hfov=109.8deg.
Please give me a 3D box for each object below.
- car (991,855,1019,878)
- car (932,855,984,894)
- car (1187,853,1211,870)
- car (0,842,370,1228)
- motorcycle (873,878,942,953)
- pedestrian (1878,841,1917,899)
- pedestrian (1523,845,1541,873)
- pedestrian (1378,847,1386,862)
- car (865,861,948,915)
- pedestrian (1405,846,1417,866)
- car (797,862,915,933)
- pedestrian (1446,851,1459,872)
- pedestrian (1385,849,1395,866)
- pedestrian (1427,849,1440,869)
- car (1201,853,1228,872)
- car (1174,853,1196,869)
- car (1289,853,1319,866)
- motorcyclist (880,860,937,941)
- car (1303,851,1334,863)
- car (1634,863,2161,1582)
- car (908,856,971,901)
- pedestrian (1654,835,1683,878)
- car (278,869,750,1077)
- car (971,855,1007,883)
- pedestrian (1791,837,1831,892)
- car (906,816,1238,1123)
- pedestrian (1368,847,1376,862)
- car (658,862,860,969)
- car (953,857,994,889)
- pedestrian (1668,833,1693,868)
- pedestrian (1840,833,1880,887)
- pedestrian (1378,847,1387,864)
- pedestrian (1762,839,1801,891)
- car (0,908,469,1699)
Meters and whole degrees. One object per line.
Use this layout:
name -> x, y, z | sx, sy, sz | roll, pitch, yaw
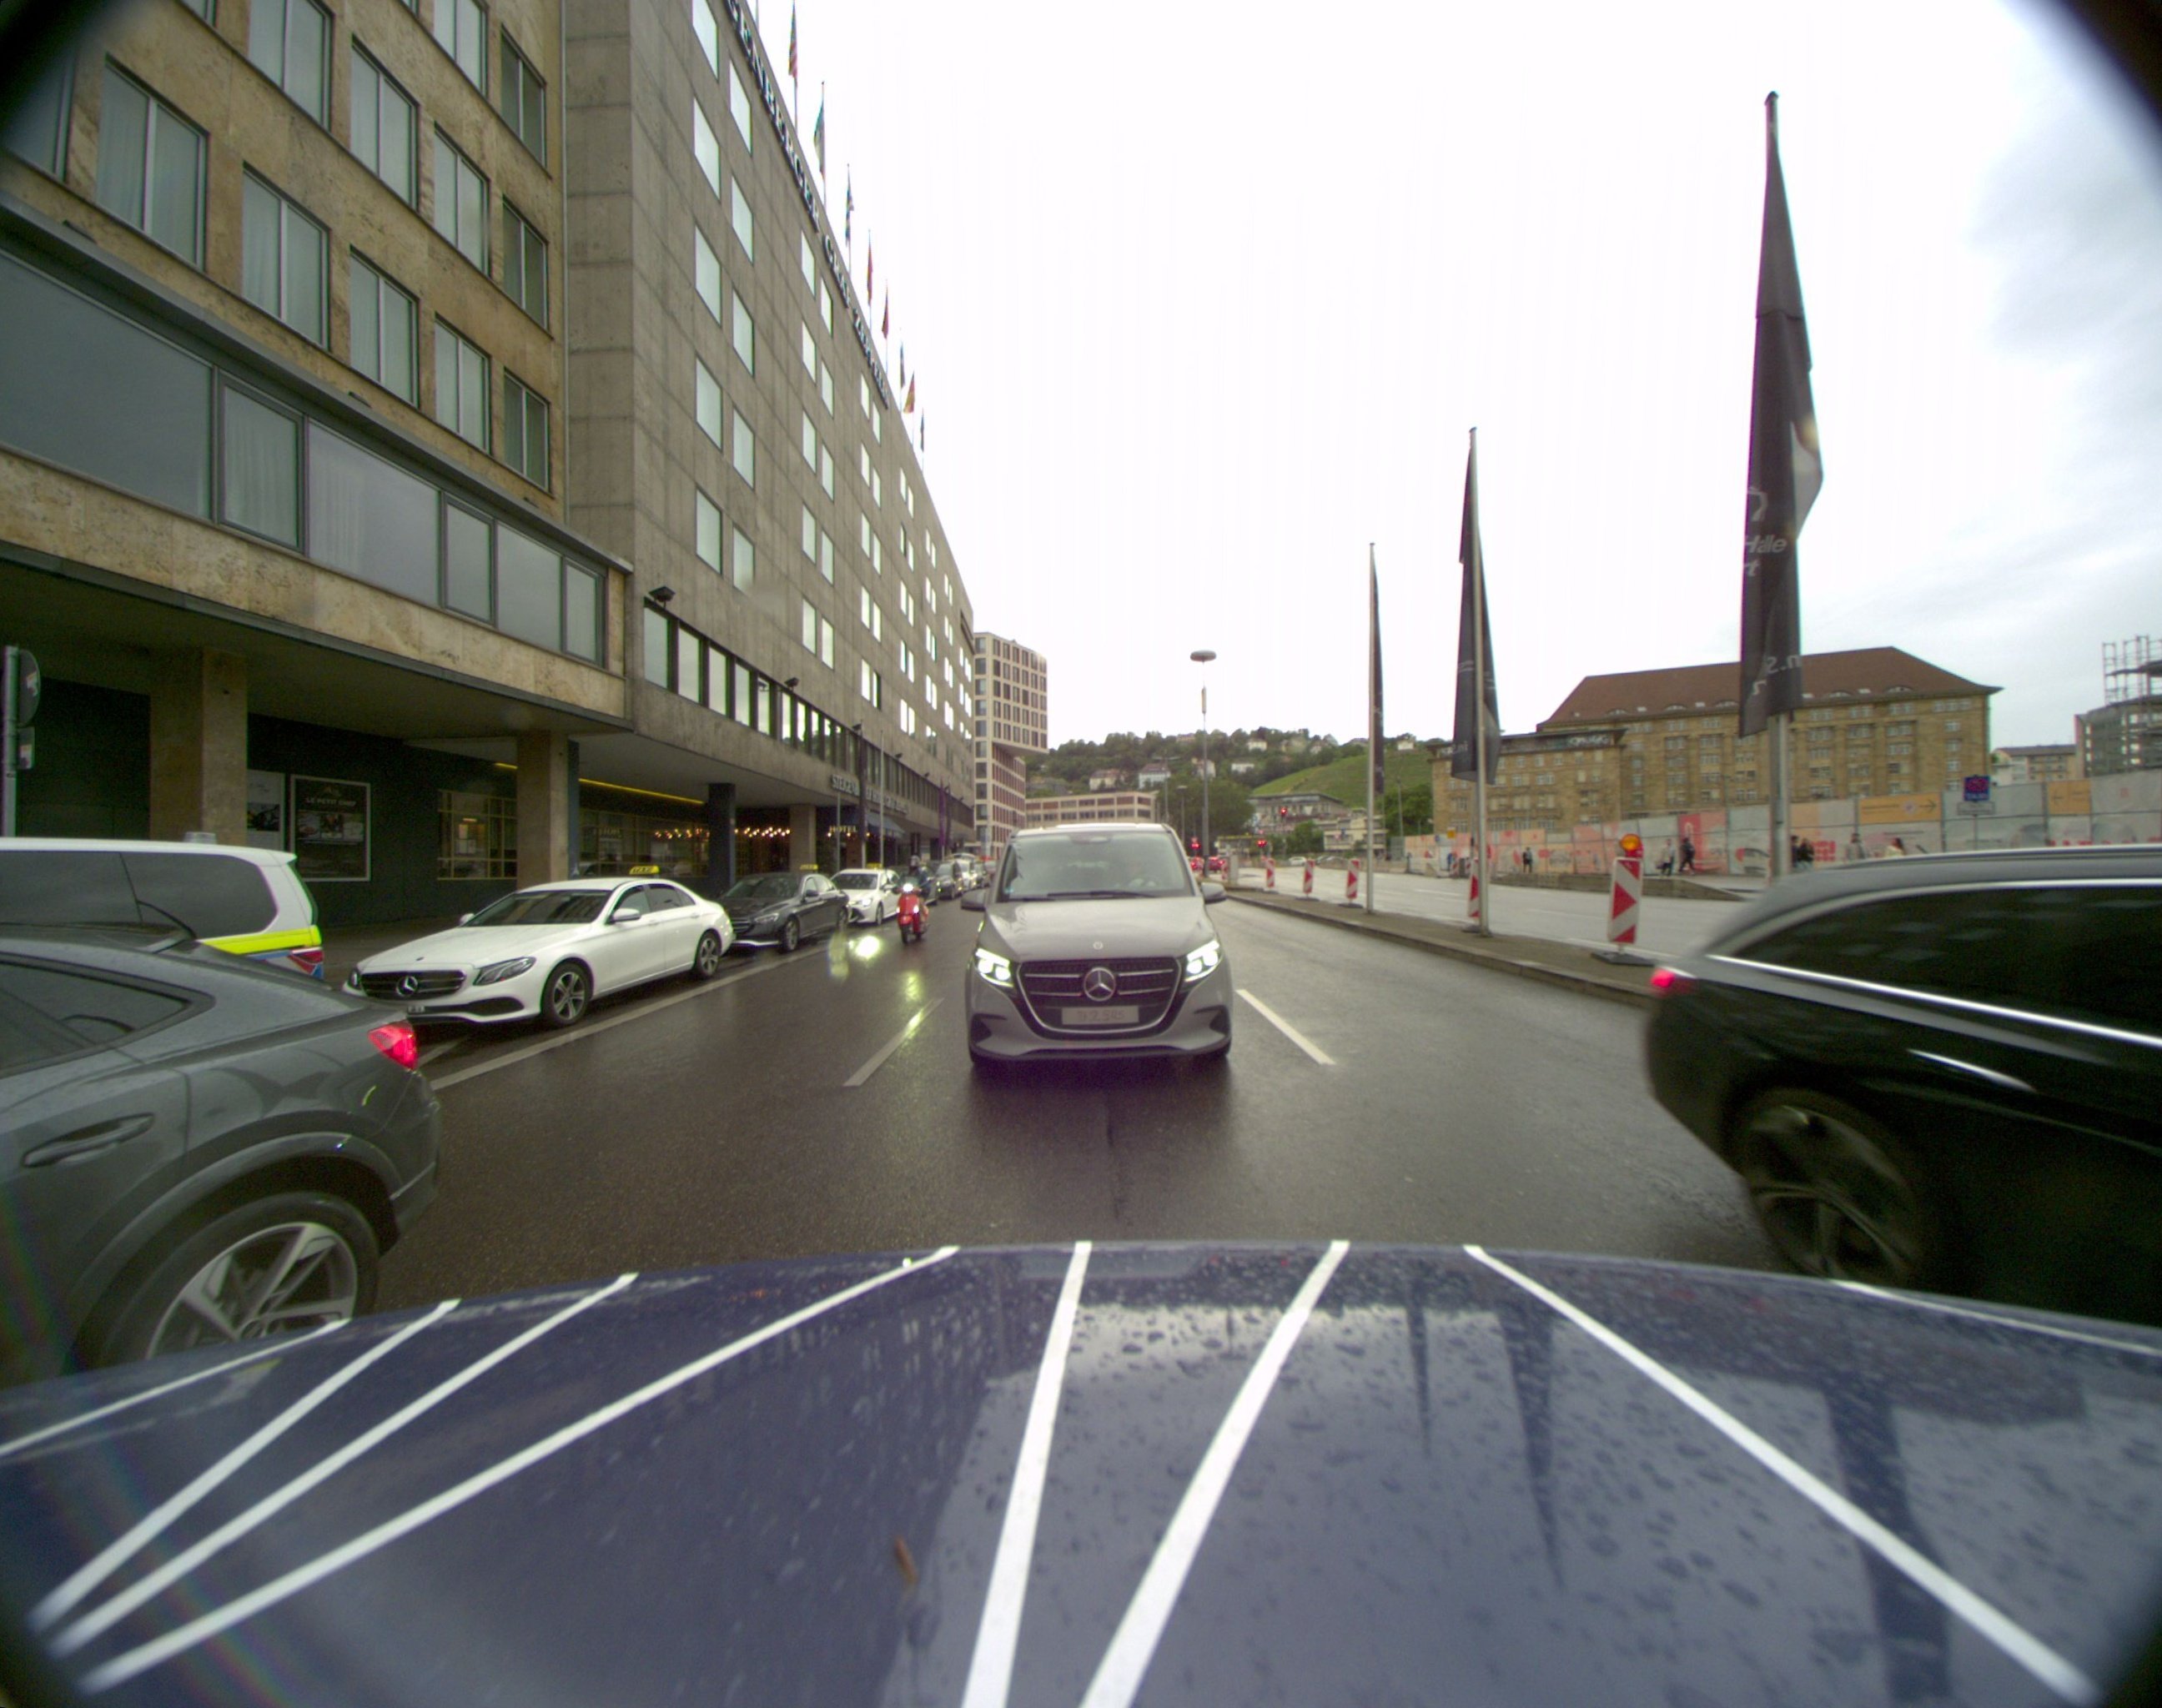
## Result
car -> -5.904, 0.959, 59.212 | 1.731, 1.604, 4.001 | -2, 1, 0
car -> -6.089, 0.954, 38.205 | 1.731, 1.732, 4.814 | -2, 1, 0
car -> 12.277, 0.765, 79.503 | 1.785, 1.684, 3.916 | -2, 1, -1
car -> -6.321, 0.935, 3.208 | 1.879, 1.909, 4.935 | -2, 1, 0
motorcycle -> -3.404, 1.176, 15.100 | 0.848, 1.299, 1.965 | -2, 1, 1
pedestrian -> 26.186, 0.495, 24.383 | 0.661, 1.825, 0.556 | -2, 1, 21
pedestrian -> 26.222, 0.294, 44.187 | 0.715, 1.606, 0.544 | -2, 1, 1
pedestrian -> 31.997, 0.024, 80.839 | 0.715, 1.606, 0.544 | -2, 1, 12
car -> -6.043, 1.119, 26.837 | 1.731, 1.583, 4.814 | -2, 1, 0
pedestrian -> 27.984, 0.176, 64.491 | 0.715, 1.606, 0.544 | -2, 1, 1
car -> -6.040, 1.089, 21.022 | 1.731, 1.583, 4.814 | -2, 1, 0
pedestrian -> 28.254, 0.566, 57.822 | 0.715, 1.606, 0.544 | -2, 1, 1
pedestrian -> 28.854, 0.306, 70.968 | 0.715, 1.606, 0.544 | -2, 1, 1
pedestrian -> 28.691, 0.412, 61.832 | 0.715, 1.606, 0.544 | -2, 1, 1
car -> 12.671, 0.777, 72.281 | 1.785, 1.684, 3.916 | -1, 0, 0
car -> 11.827, 0.727, 86.410 | 1.785, 1.684, 3.916 | -2, 1, -1
car -> 34.530, 0.811, 117.699 | 4.194, 1.846, 1.832 | -2, 1, 6
motorcyclist -> -3.417, 0.903, 15.098 | 0.861, 1.519, 0.844 | -2, 1, 1
car -> 32.775, 0.416, 104.835 | 3.993, 1.622, 2.002 | -1, 0, 14
car -> 3.242, 0.824, 0.891 | 1.860, 1.461, 4.586 | -2, 1, 1
car -> -6.051, 0.995, 33.008 | 1.731, 1.732, 4.814 | -2, 1, 0
pedestrian -> 25.674, 0.098, 33.197 | 0.664, 1.825, 0.720 | -2, 1, 1
car -> -6.090, 1.100, 9.211 | 1.879, 1.628, 5.010 | -2, 1, 0
car -> -5.872, 0.910, 48.891 | 1.731, 1.604, 4.001 | -2, 1, 0
pedestrian -> 24.795, 0.361, 25.810 | 0.714, 1.825, 0.718 | -2, 1, 19
car -> -0.014, 0.703, 7.319 | 1.998, 1.849, 5.160 | -2, 1, 1
pedestrian -> 31.075, 0.058, 81.218 | 0.715, 1.606, 0.544 | -2, 1, 14
car -> -6.074, 1.051, 15.114 | 1.879, 1.628, 4.814 | -2, 1, 0
car -> -6.125, 1.062, 43.713 | 1.731, 1.604, 4.001 | -2, 1, 0
pedestrian -> 27.865, -0.171, 35.332 | 0.715, 1.606, 0.544 | -2, 1, 1
pedestrian -> 25.453, 0.190, 24.840 | 0.714, 1.734, 0.564 | -2, 1, 21
pedestrian -> 30.239, 0.132, 76.220 | 0.715, 1.606, 0.544 | -2, 1, 1
pedestrian -> 24.044, 0.367, 26.090 | 0.714, 1.723, 0.718 | -2, 1, 19
car -> -3.151, 0.989, 0.485 | 1.883, 1.493, 4.342 | -2, 1, 1
